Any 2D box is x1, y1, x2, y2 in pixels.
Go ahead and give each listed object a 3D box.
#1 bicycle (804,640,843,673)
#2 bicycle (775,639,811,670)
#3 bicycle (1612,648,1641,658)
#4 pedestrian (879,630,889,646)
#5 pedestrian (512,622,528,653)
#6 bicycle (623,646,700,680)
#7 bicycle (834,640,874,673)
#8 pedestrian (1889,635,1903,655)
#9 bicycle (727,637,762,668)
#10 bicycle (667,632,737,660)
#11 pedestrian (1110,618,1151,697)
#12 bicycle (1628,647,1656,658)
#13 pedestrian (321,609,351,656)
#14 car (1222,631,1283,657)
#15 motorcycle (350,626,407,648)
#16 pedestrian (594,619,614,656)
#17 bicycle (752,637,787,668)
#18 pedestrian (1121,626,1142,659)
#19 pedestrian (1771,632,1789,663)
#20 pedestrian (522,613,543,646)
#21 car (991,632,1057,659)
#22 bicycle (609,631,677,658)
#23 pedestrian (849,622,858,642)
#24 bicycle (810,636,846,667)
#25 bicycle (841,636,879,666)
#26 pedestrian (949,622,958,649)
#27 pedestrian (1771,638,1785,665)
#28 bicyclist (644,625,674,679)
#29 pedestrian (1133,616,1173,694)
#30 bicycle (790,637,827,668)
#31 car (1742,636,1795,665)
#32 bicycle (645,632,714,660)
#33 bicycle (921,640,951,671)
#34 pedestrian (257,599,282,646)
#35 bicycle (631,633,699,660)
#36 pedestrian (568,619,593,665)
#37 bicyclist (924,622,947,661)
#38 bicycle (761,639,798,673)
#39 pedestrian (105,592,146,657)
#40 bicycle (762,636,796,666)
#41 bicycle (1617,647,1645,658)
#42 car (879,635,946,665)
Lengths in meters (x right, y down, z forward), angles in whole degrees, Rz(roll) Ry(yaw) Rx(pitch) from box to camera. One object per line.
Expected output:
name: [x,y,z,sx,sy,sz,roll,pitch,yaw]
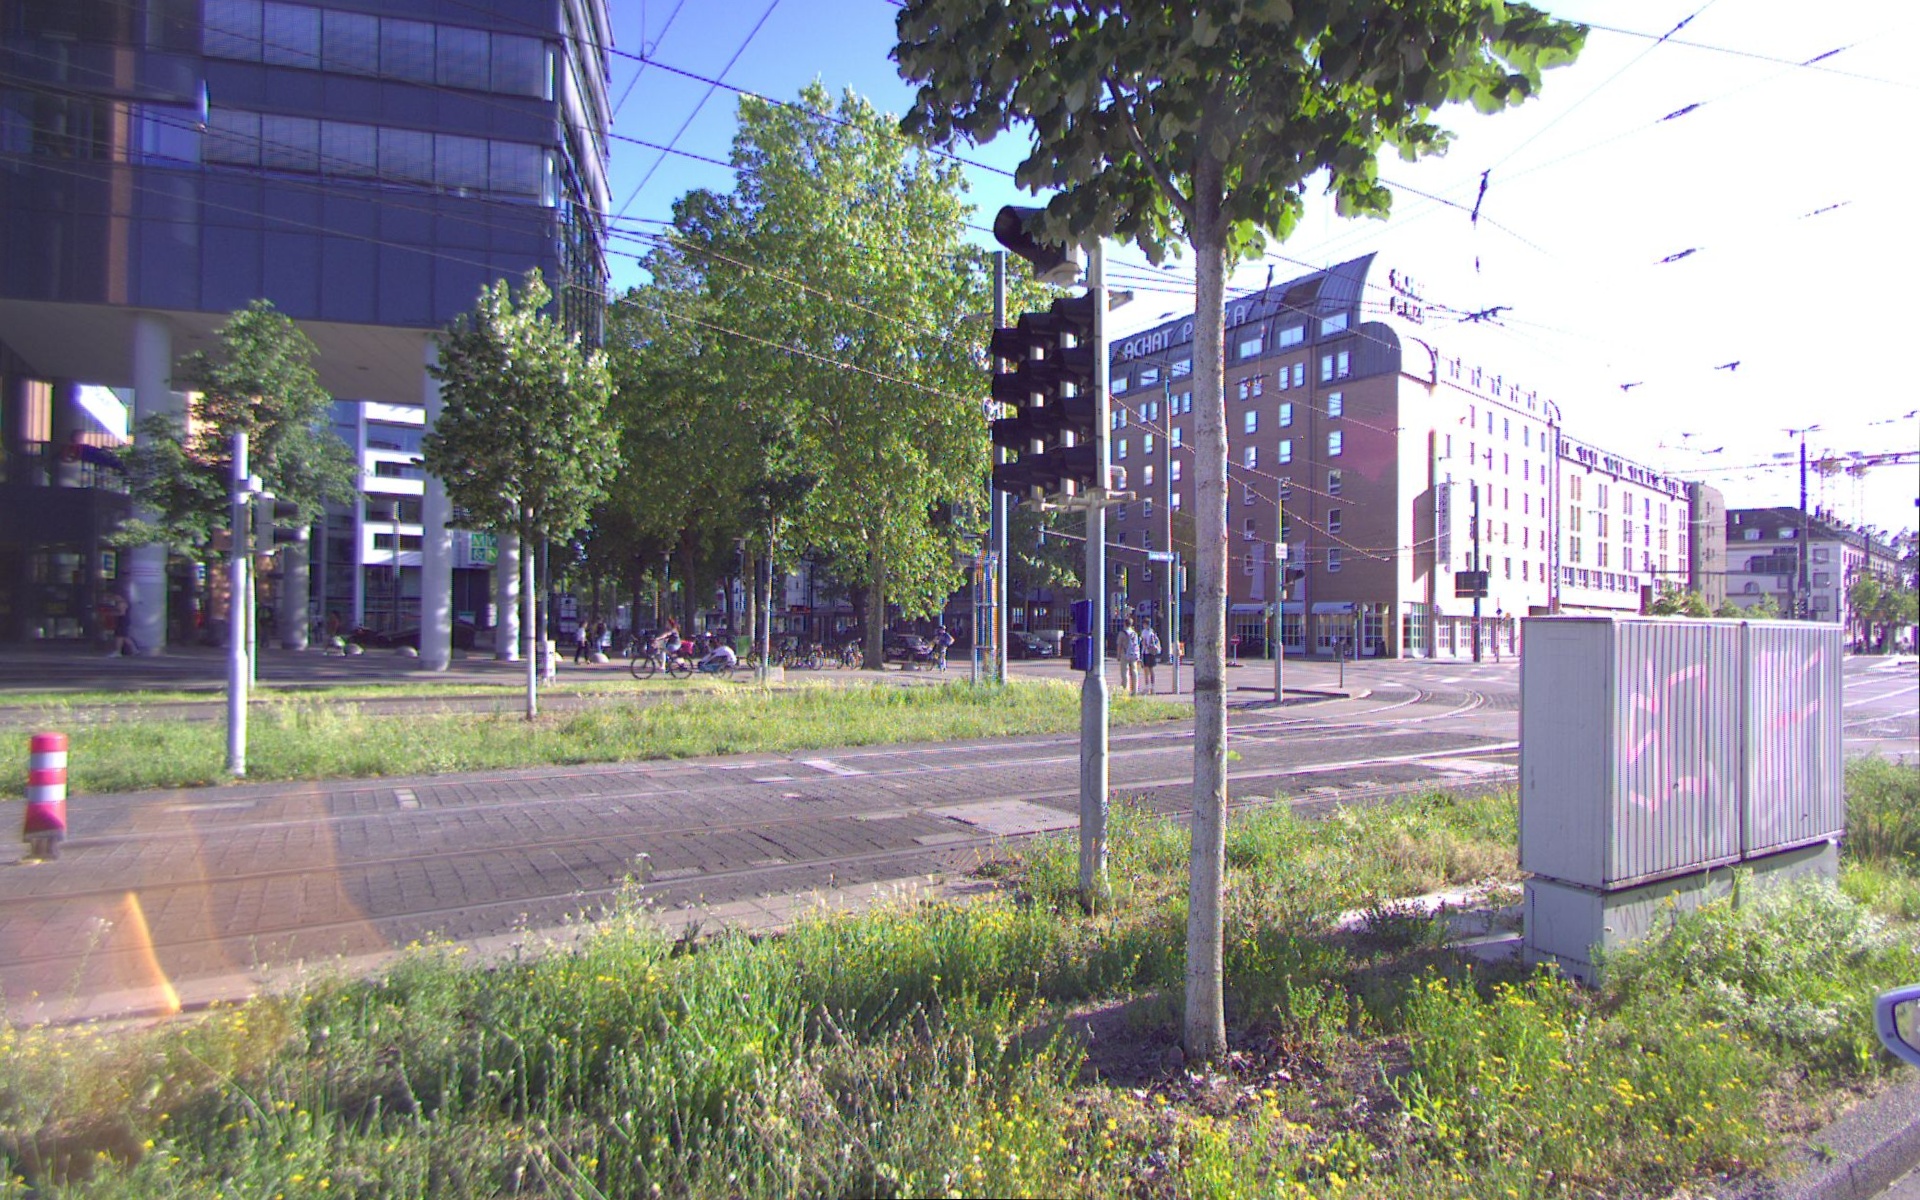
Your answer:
bicycle: [-4.962,2.032,36.414,0.592,1.143,2.348,0,-1,-29]
bicycle: [-6.477,2.083,38.833,0.592,1.143,2.348,0,-1,-30]
bicycle: [57.440,4.585,86.576,0.477,0.856,2.024,1,-2,-30]
pedestrian: [-5.691,2.864,75.058,0.583,1.179,0.742,1,-1,-17]
pedestrian: [-24.936,2.125,56.953,0.691,1.737,0.727,1,-1,-33]
bicycle: [-8.768,1.845,29.528,2.043,0.962,0.686,2,-1,-31]
bicycle: [-3.925,2.058,37.152,0.592,1.143,2.348,0,-1,-29]
pedestrian: [82.299,3.949,88.356,0.850,1.692,0.781,0,0,39]
bicycle: [-8.298,1.993,38.605,0.592,1.143,2.348,0,-1,-30]
bicycle: [-12.804,2.278,49.944,1.021,1.371,3.342,-1,-2,44]
pedestrian: [4.144,1.381,24.442,0.691,1.894,0.728,1,-2,-31]
bicycle: [59.631,4.611,87.806,0.477,0.933,2.024,1,-2,-30]
pedestrian: [-21.959,1.140,35.380,0.722,1.644,0.696,1,-1,-18]
car: [19.272,2.863,66.353,1.597,1.622,3.829,1,-2,-31]
motorcycle: [-28.657,1.813,49.575,2.309,1.072,0.828,1,-1,-22]
pedestrian: [-16.080,1.700,45.339,0.691,1.674,0.700,2,-1,-32]
bicycle: [-7.417,2.017,39.036,0.592,1.143,2.348,0,-1,-30]
pedestrian: [9.127,2.265,53.534,0.821,1.702,0.711,0,-1,-30]
pedestrian: [47.382,2.748,58.051,0.589,1.750,0.715,2,-2,-39]
pedestrian: [-21.857,1.515,51.366,0.685,1.644,0.734,1,-1,1]
car: [3.474,2.471,55.082,1.653,1.433,3.965,2,-3,-32]
bicycle: [-16.716,2.339,53.118,1.021,1.371,3.342,-1,-2,44]
pedestrian: [-8.822,2.673,83.269,0.557,1.594,0.636,2,0,-20]
bicycle: [-5.305,2.046,40.201,0.592,1.143,2.348,0,-1,-30]
bicycle: [-4.059,2.057,40.699,0.592,1.143,2.348,0,-1,-30]
pedestrian: [-0.441,2.516,71.156,0.581,1.853,0.745,1,-1,-1]
pedestrian: [48.643,3.055,59.738,0.573,1.598,0.644,0,-2,36]
bicyclist: [-8.832,1.522,29.483,0.695,1.550,0.686,1,-1,-31]
pedestrian: [4.814,1.360,25.088,0.666,1.894,0.727,1,-2,-33]
bicycle: [-5.911,2.032,39.098,0.592,1.143,2.348,0,-1,-30]
car: [53.446,3.320,66.403,4.071,1.859,1.825,2,-4,-38]
bicycle: [-14.302,2.346,51.268,1.021,1.371,3.342,-1,-2,44]
bicycle: [-0.929,2.100,38.251,0.683,1.152,1.845,1,-2,-17]
pedestrian: [-25.889,0.858,37.659,0.691,1.727,0.728,1,-2,-31]
bicycle: [-15.356,2.399,52.335,1.021,1.371,3.342,-1,-2,44]
pedestrian: [-14.313,1.576,37.881,0.819,1.702,0.712,-1,-1,-23]
bicyclist: [-0.924,1.579,38.253,0.683,1.480,0.751,1,-1,-18]
bicycle: [-6.506,1.996,36.073,0.592,1.143,2.348,0,-1,-29]
pedestrian: [-22.365,0.661,26.938,0.691,1.727,0.728,1,-2,-31]
bicycle: [-7.417,2.066,41.075,0.592,1.143,2.348,0,-1,-30]
bicycle: [58.441,4.593,87.526,0.477,0.933,2.024,1,-2,-30]
car: [-2.365,2.439,49.351,1.652,1.425,3.968,2,-3,-30]
